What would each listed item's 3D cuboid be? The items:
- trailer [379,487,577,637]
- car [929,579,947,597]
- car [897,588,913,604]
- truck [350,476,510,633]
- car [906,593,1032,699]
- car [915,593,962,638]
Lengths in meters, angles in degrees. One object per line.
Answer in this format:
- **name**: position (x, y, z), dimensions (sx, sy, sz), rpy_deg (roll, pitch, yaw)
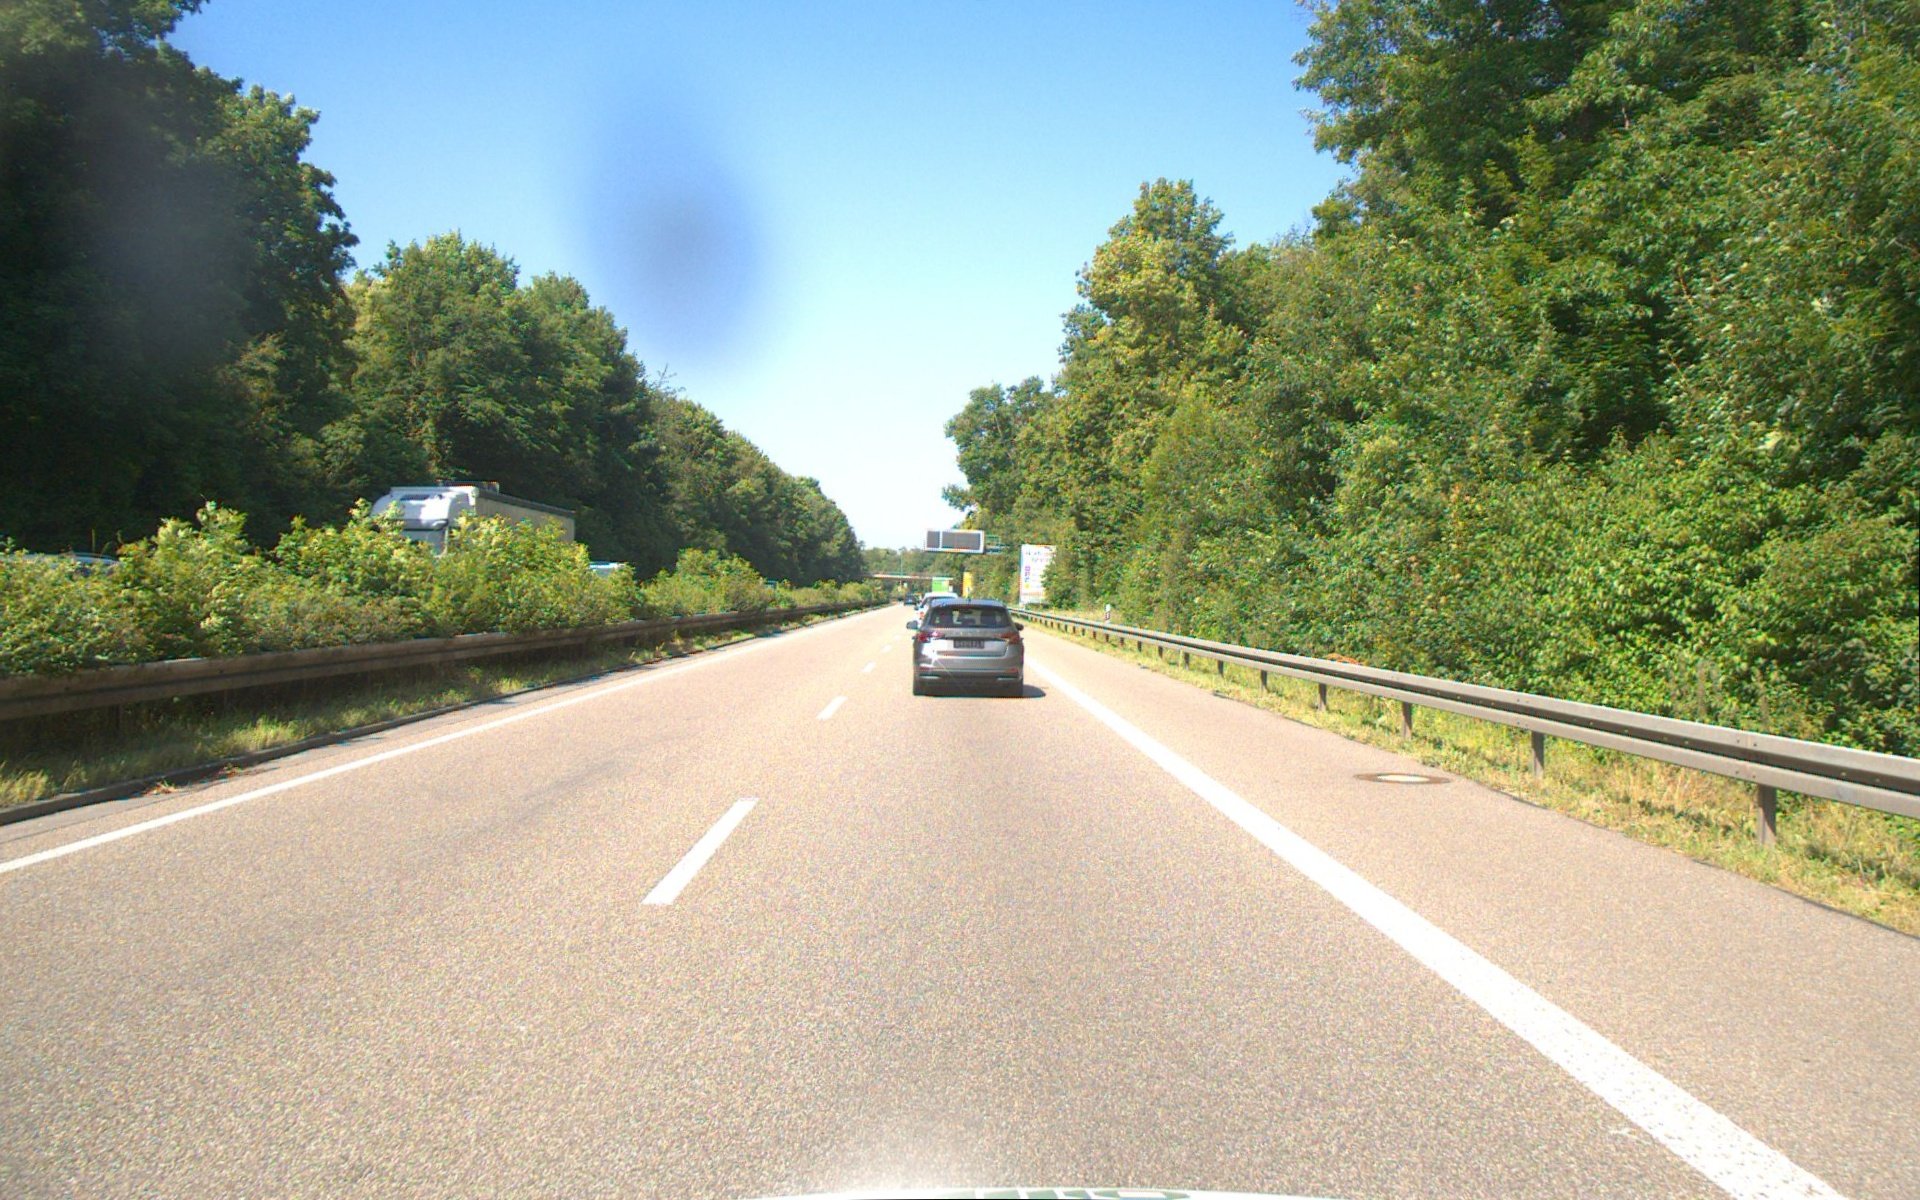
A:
- **trailer**: position (-15.829, -1.091, 55.728), dimensions (2.771, 4.375, 13.661), rpy_deg (1, 0, -1)
- **car**: position (-3.391, -1.870, 252.639), dimensions (2.693, 2.700, 3.999), rpy_deg (1, 0, -1)
- **car**: position (-7.299, -0.491, 220.643), dimensions (1.953, 2.049, 3.999), rpy_deg (1, 0, -1)
- **truck**: position (-15.644, -1.258, 49.331), dimensions (2.662, 4.318, 6.535), rpy_deg (1, 0, -1)
- **car**: position (0.161, 0.656, 25.725), dimensions (1.802, 1.497, 3.624), rpy_deg (1, 0, 1)
- **car**: position (-0.717, 0.498, 56.592), dimensions (1.491, 1.472, 3.340), rpy_deg (1, 0, 1)
